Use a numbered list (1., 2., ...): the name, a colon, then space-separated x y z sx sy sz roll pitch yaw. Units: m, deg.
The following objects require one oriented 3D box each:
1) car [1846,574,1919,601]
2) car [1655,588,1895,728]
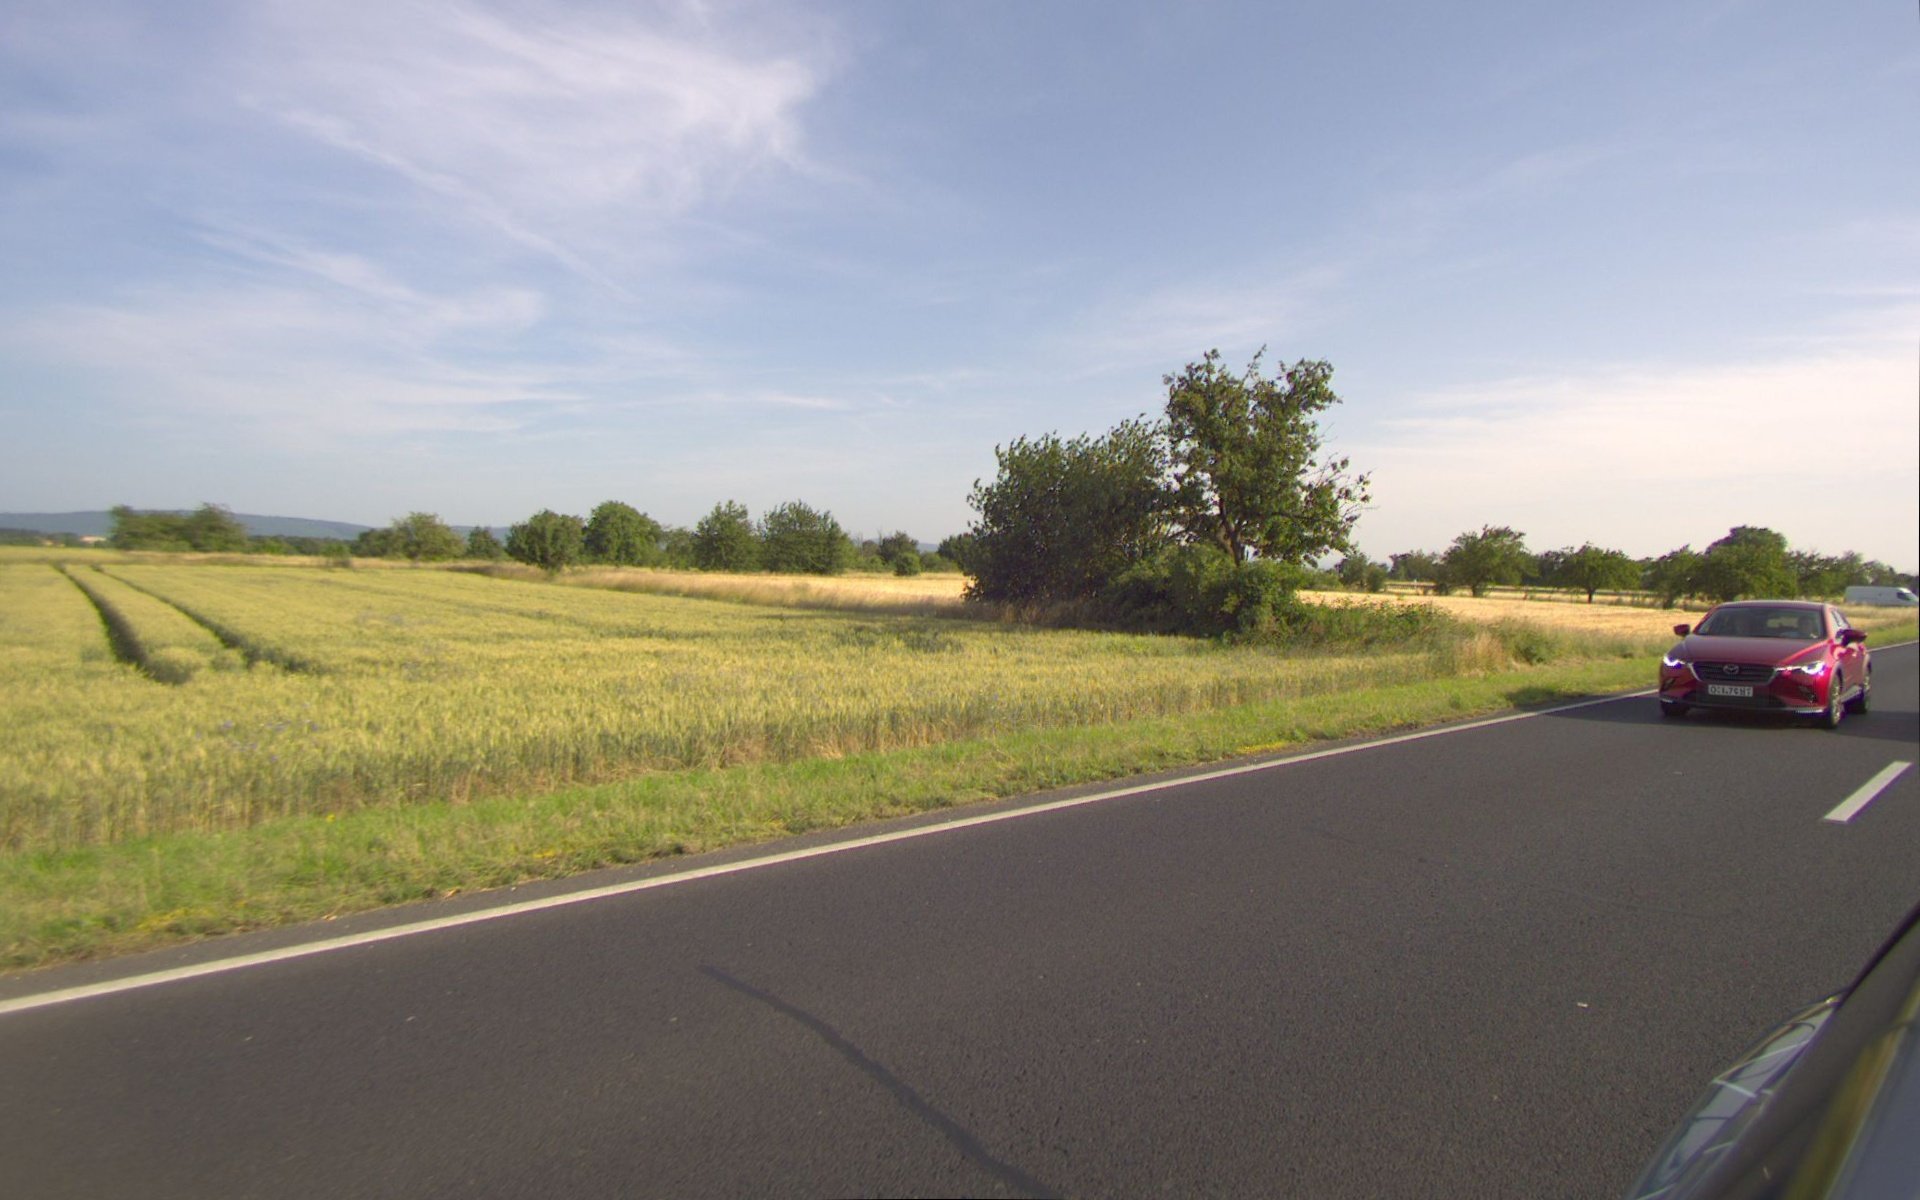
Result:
1. car: 98.440 -1.339 106.772 2.049 2.701 7.230 -1 2 -26
2. car: 10.866 0.621 13.373 4.422 1.524 1.707 -1 1 -41
